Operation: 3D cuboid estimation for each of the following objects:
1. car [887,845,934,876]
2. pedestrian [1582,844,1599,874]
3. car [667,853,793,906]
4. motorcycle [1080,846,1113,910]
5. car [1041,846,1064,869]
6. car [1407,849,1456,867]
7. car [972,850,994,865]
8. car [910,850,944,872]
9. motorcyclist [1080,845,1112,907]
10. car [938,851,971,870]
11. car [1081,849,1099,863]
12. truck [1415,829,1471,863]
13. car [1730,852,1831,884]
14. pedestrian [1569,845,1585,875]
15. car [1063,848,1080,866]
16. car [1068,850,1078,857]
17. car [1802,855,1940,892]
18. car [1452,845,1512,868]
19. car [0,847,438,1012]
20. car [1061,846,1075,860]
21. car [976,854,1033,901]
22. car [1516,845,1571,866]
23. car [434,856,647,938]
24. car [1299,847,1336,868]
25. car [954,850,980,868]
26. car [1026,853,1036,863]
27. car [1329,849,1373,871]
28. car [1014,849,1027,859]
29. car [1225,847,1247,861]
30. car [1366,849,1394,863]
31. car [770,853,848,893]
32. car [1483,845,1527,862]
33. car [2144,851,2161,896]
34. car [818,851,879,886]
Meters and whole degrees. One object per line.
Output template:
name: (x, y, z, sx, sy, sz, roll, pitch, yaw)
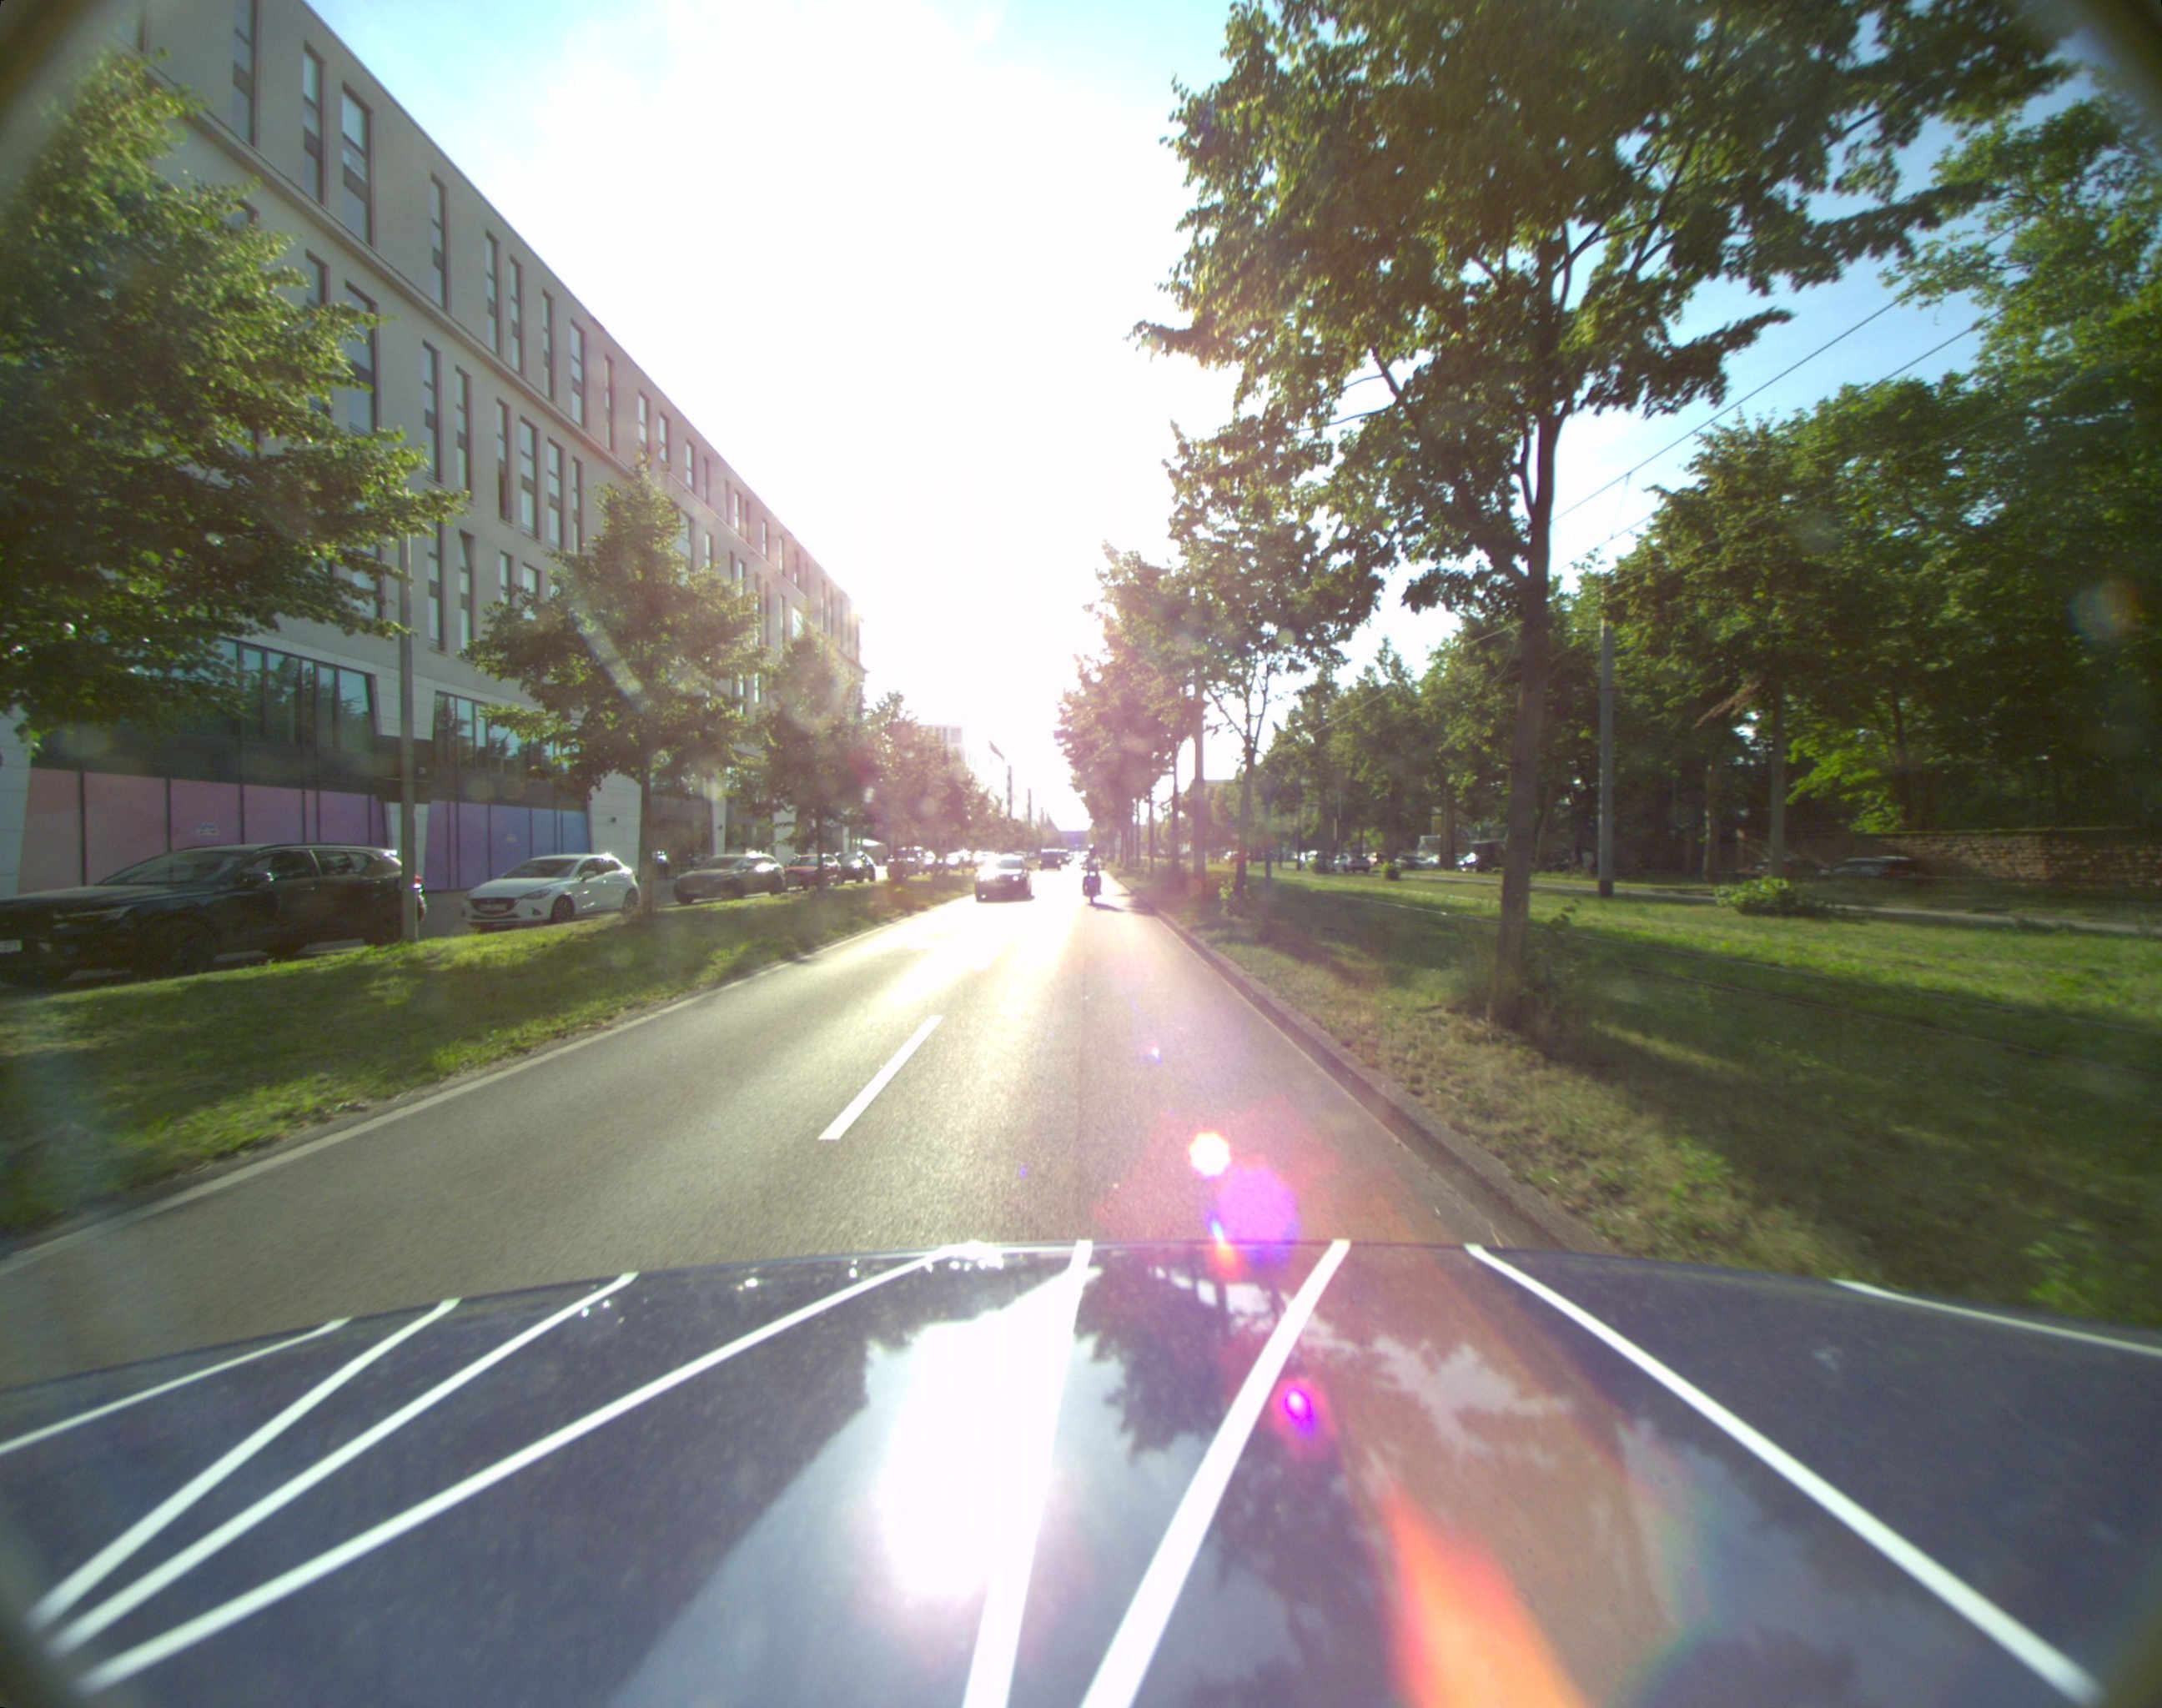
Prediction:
car: (-11.084, 0.391, 49.774, 1.899, 1.863, 4.843, -2, 1, 0)
pedestrian: (25.279, 0.243, 37.695, 0.387, 1.467, 0.601, -2, 1, 0)
car: (-11.251, 0.760, 24.749, 1.732, 1.424, 4.721, -2, 1, 2)
motorcycle: (0.404, 0.613, 21.495, 0.798, 1.659, 2.633, -2, 1, -1)
car: (-2.577, 0.258, 68.908, 1.803, 1.881, 4.820, -2, 1, 0)
car: (27.786, 0.278, 60.381, 1.680, 1.236, 4.900, -2, 1, 2)
car: (-10.710, 0.352, 83.305, 1.840, 1.521, 4.327, -2, 1, 0)
car: (-11.259, 0.489, 55.811, 1.765, 1.479, 4.208, -2, 1, -2)
motorcyclist: (0.413, 0.612, 21.635, 0.814, 1.700, 0.842, -2, 1, -1)
car: (-11.015, 0.569, 66.415, 1.764, 1.479, 4.919, -2, 1, 4)
car: (1.014, 0.228, 88.232, 1.756, 1.427, 4.034, -2, 1, -3)
truck: (40.232, -0.899, 84.748, 2.895, 3.496, 7.945, -2, 1, 5)
car: (36.060, 0.699, 39.321, 1.722, 1.434, 3.911, -2, 1, 3)
pedestrian: (24.613, 0.283, 37.715, 0.387, 1.467, 0.601, -2, 1, 0)
car: (-1.121, 0.328, 91.781, 1.909, 2.002, 3.999, -2, 1, 1)
car: (-1.695, -0.123, 162.044, 1.840, 1.521, 4.327, -2, 1, 0)
car: (35.385, 0.830, 34.205, 1.790, 1.434, 4.361, -2, 1, 3)
car: (27.802, 0.138, 52.848, 1.835, 1.423, 4.474, -2, 1, 2)
car: (-11.249, 0.775, 10.001, 1.732, 1.641, 4.339, -2, 1, 1)
car: (-2.073, -0.209, 120.106, 1.998, 2.002, 3.999, -2, 1, 0)
car: (-2.670, 0.785, 27.197, 1.699, 1.416, 4.038, -2, 1, -2)
car: (37.739, 0.077, 62.162, 1.835, 1.603, 4.474, -2, 1, 2)
car: (-11.248, 0.803, 16.239, 1.620, 1.404, 4.166, -2, 1, -2)
car: (17.282, 0.213, 55.688, 1.587, 1.385, 3.696, -2, 1, 1)
car: (-10.890, 0.430, 72.832, 1.764, 1.589, 4.327, -2, 1, 0)
car: (-10.403, 0.805, 157.348, 1.740, 1.777, 3.893, -2, 1, 0)
car: (20.454, 0.432, 57.754, 1.686, 1.467, 4.812, 2, 1, 1)
car: (-10.315, -0.008, 129.749, 1.840, 1.521, 4.327, -2, 1, 0)
car: (17.887, -0.056, 87.883, 1.614, 1.523, 4.131, -2, 1, 1)
car: (29.305, 0.180, 74.665, 1.586, 1.269, 3.961, -2, 1, 7)
car: (-11.305, 0.737, 31.880, 1.733, 1.424, 4.113, -2, 1, 0)
car: (37.463, -0.036, 67.288, 1.701, 1.367, 4.386, -2, 1, 4)
car: (36.170, 0.630, 22.969, 1.793, 1.434, 4.355, -2, 1, -13)
car: (-11.364, 0.662, 37.452, 1.873, 1.483, 4.412, -2, 1, -4)
